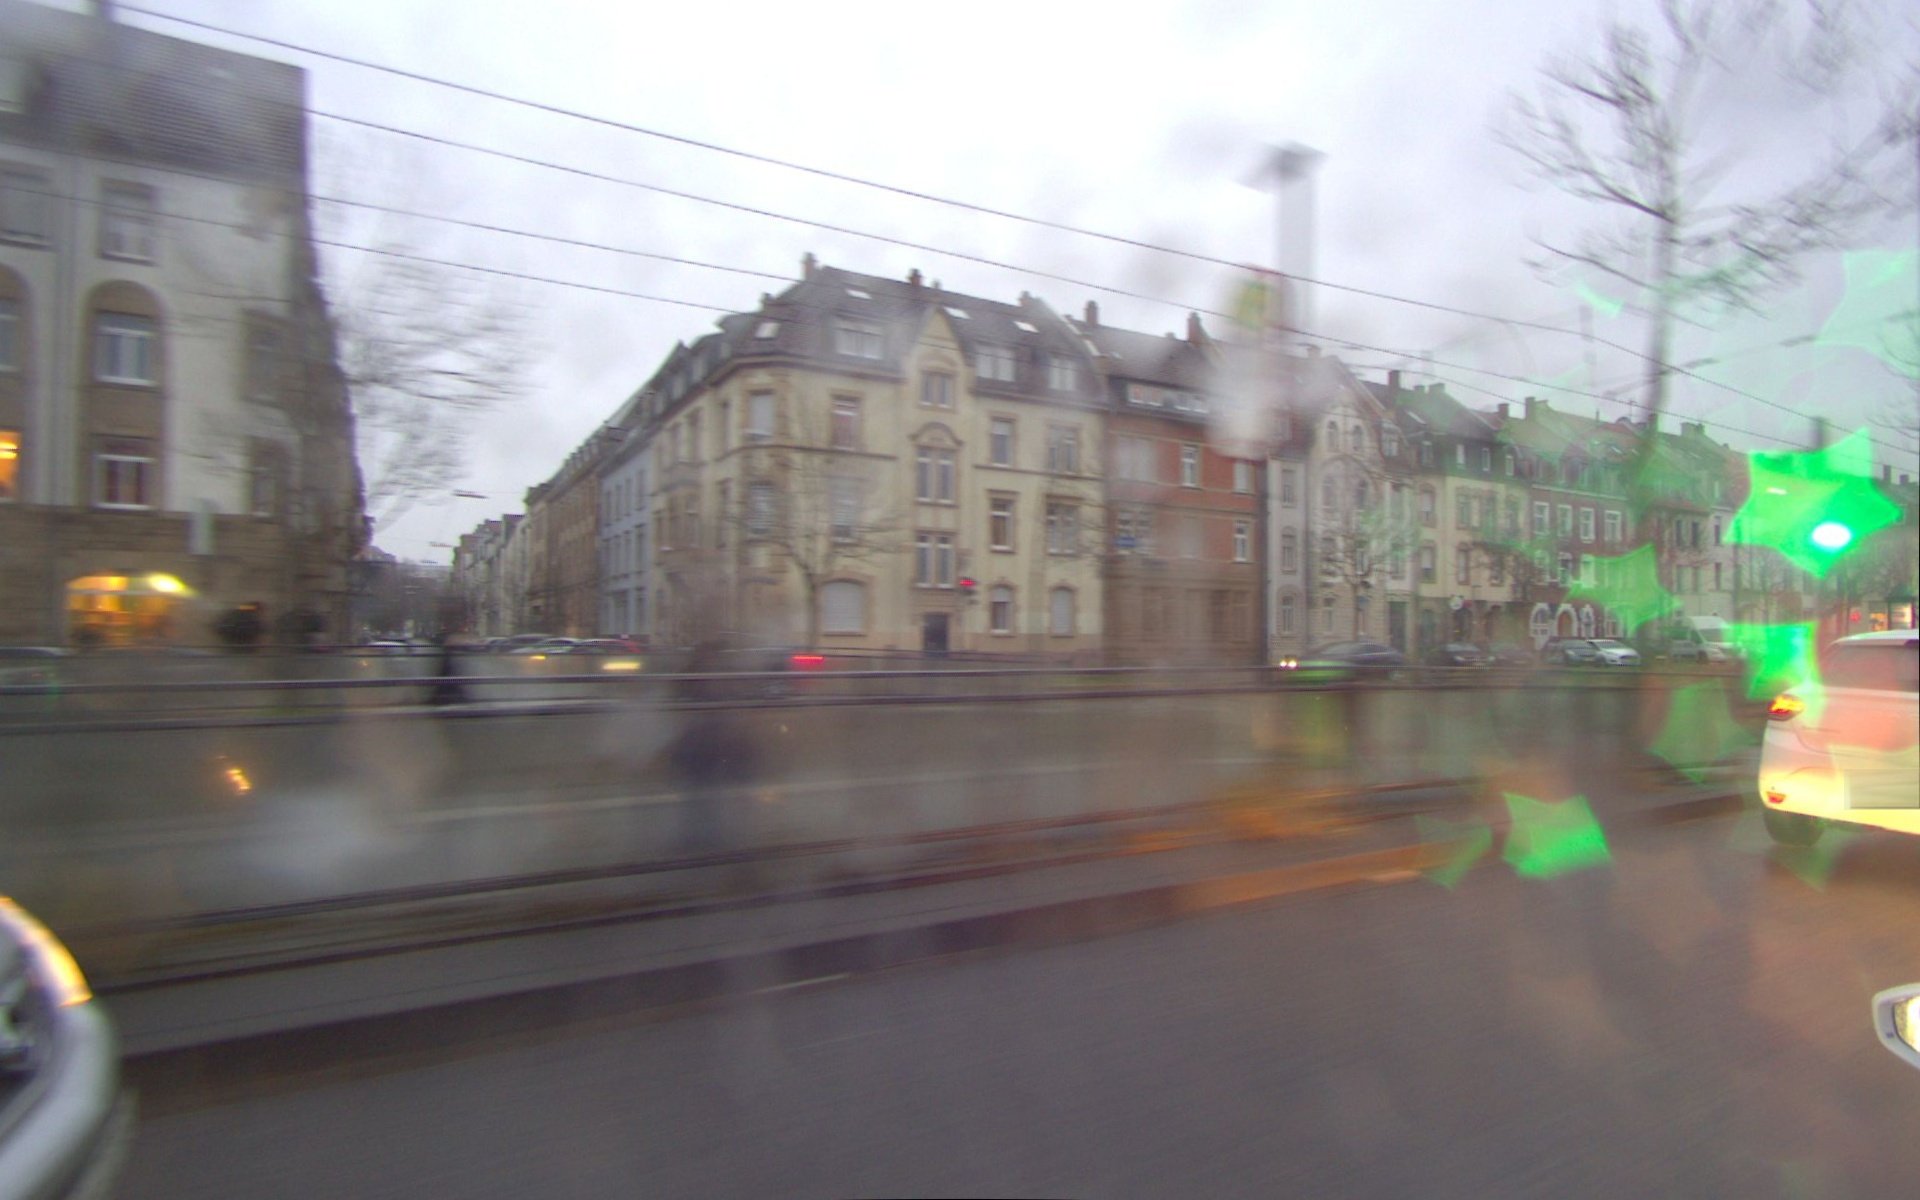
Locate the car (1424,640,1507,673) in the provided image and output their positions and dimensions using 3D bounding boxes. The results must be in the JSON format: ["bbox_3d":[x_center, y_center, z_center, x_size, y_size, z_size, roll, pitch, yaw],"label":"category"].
[{"bbox_3d":[22.248,2.465,44.387,1.959,1.349,4.003,0,-2,6],"label":"car"}]

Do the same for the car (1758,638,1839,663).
[{"bbox_3d":[52.935,3.168,63.519,1.960,1.505,4.003,0,-2,4],"label":"car"}]

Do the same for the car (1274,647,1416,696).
[{"bbox_3d":[12.649,2.297,32.947,4.644,1.472,1.856,1,-3,-30],"label":"car"}]

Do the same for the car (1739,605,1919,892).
[{"bbox_3d":[7.139,0.888,6.733,4.006,1.621,1.664,1,-1,-30],"label":"car"}]

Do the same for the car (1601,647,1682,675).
[{"bbox_3d":[36.071,3.214,53.305,1.959,1.349,4.003,0,-2,8],"label":"car"}]

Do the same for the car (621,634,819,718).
[{"bbox_3d":[-5.367,1.640,22.524,3.953,1.659,1.855,1,0,-30],"label":"car"}]

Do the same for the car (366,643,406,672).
[{"bbox_3d":[-22.923,2.280,40.140,1.316,1.089,2.877,1,-3,-30],"label":"car"}]

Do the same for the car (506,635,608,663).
[{"bbox_3d":[-18.233,2.230,45.582,3.925,1.228,1.869,0,-2,-7],"label":"car"}]

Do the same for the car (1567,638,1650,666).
[{"bbox_3d":[33.332,2.662,51.748,1.960,1.349,4.003,0,-2,5],"label":"car"}]

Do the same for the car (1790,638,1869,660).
[{"bbox_3d":[55.837,3.155,64.601,1.959,1.349,4.003,0,-2,8],"label":"car"}]

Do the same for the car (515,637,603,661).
[{"bbox_3d":[-21.232,2.598,53.275,3.925,1.228,1.869,1,-3,-7],"label":"car"}]

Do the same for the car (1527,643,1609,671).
[{"bbox_3d":[30.336,2.829,50.261,1.959,1.349,4.003,0,-2,6],"label":"car"}]

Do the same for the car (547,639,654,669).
[{"bbox_3d":[-15.310,2.288,42.953,3.925,1.228,1.869,0,-2,-7],"label":"car"}]

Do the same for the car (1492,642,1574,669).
[{"bbox_3d":[26.413,2.543,46.429,1.959,1.184,4.003,0,-2,8],"label":"car"}]

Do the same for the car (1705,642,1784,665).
[{"bbox_3d":[47.113,3.190,60.395,1.959,1.349,4.003,0,-2,8],"label":"car"}]

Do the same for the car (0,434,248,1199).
[{"bbox_3d":[-3.144,0.579,0.871,4.011,1.621,1.798,2,-1,-34],"label":"car"}]

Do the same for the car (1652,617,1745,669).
[{"bbox_3d":[41.964,2.449,57.303,1.959,2.834,5.872,0,-2,12],"label":"car"}]
